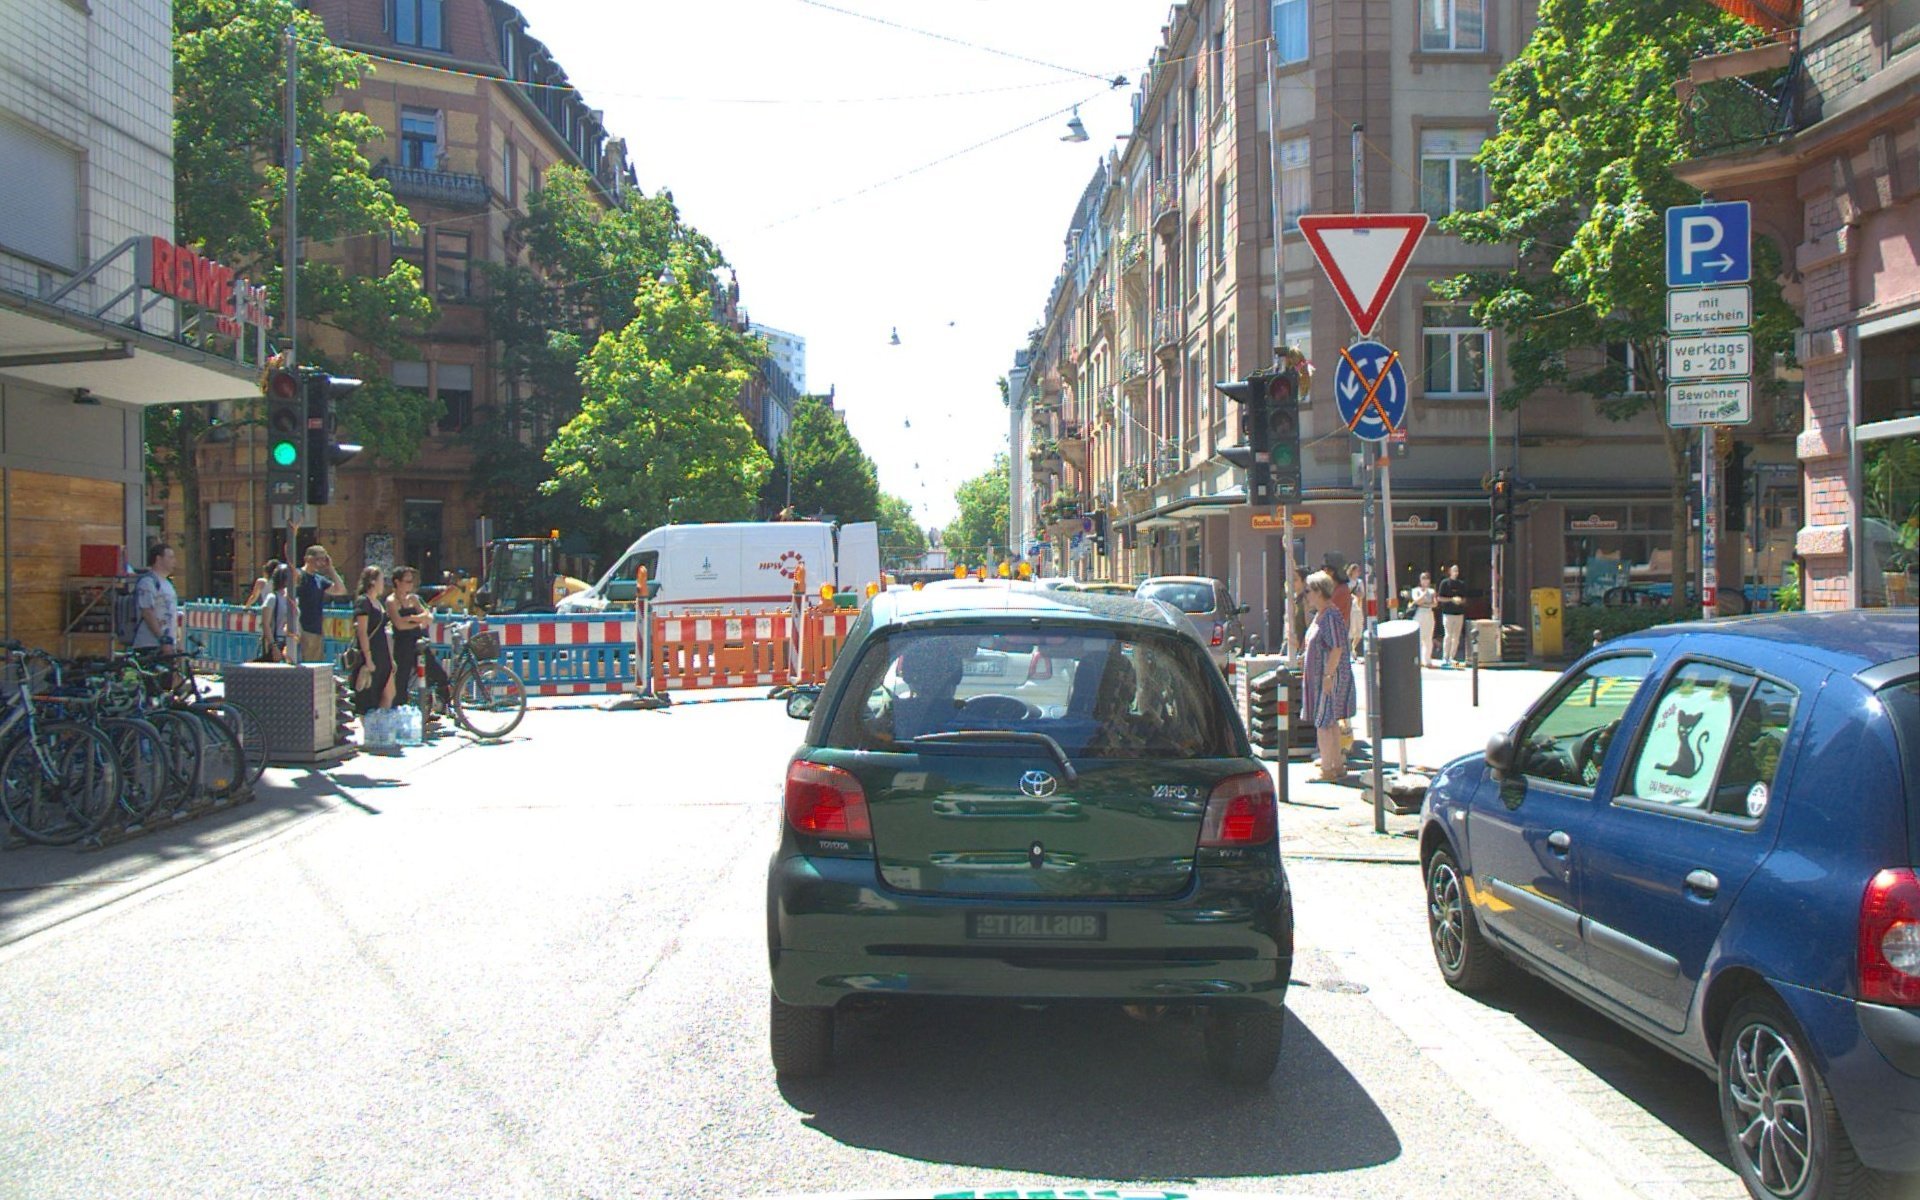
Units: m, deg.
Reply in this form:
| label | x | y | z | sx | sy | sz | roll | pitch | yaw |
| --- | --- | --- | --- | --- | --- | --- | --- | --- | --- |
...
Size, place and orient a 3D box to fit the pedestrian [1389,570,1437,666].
| label | x | y | z | sx | sy | sz | roll | pitch | yaw |
| --- | --- | --- | --- | --- | --- | --- | --- | --- | --- |
| pedestrian | 8.253 | 0.324 | 30.133 | 0.688 | 1.673 | 0.422 | -3 | 4 | -9 |

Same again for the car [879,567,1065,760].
| label | x | y | z | sx | sy | sz | roll | pitch | yaw |
| --- | --- | --- | --- | --- | --- | --- | --- | --- | --- |
| car | 0.066 | 0.494 | 15.049 | 1.491 | 1.547 | 3.263 | 0 | 1 | -1 |

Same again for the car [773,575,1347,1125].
| label | x | y | z | sx | sy | sz | roll | pitch | yaw |
| --- | --- | --- | --- | --- | --- | --- | --- | --- | --- |
| car | 0.301 | 0.684 | 6.207 | 1.580 | 1.511 | 3.241 | 0 | 0 | 1 |

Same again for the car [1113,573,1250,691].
| label | x | y | z | sx | sy | sz | roll | pitch | yaw |
| --- | --- | --- | --- | --- | --- | --- | --- | --- | --- |
| car | 3.322 | 0.416 | 24.392 | 1.490 | 1.620 | 3.266 | 0 | 1 | 17 |

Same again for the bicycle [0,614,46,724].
| label | x | y | z | sx | sy | sz | roll | pitch | yaw |
| --- | --- | --- | --- | --- | --- | --- | --- | --- | --- |
| bicycle | -10.098 | 0.699 | 16.611 | 1.545 | 1.091 | 0.341 | -1 | 0 | -18 |

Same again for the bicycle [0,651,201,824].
| label | x | y | z | sx | sy | sz | roll | pitch | yaw |
| --- | --- | --- | --- | --- | --- | --- | --- | --- | --- |
| bicycle | -5.720 | 0.881 | 10.689 | 1.419 | 1.054 | 0.335 | 2 | 0 | -5 |

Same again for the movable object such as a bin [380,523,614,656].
| label | x | y | z | sx | sy | sz | roll | pitch | yaw |
| --- | --- | --- | --- | --- | --- | --- | --- | --- | --- |
| movable object such as a bin | -9.931 | -0.230 | 35.766 | 4.450 | 2.705 | 1.955 | 1 | 0 | -1 |

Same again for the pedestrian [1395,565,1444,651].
| label | x | y | z | sx | sy | sz | roll | pitch | yaw |
| --- | --- | --- | --- | --- | --- | --- | --- | --- | --- |
| pedestrian | 8.907 | 0.154 | 32.061 | 0.785 | 1.652 | 0.643 | 0 | 0 | 2 |

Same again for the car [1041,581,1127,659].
| label | x | y | z | sx | sy | sz | roll | pitch | yaw |
| --- | --- | --- | --- | --- | --- | --- | --- | --- | --- |
| car | 2.547 | 0.365 | 33.360 | 1.593 | 1.457 | 3.663 | -2 | 0 | 6 |

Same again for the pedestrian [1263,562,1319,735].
| label | x | y | z | sx | sy | sz | roll | pitch | yaw |
| --- | --- | --- | --- | --- | --- | --- | --- | --- | --- |
| pedestrian | 3.075 | 0.441 | 15.400 | 0.450 | 1.587 | 0.479 | 0 | 0 | 5 |

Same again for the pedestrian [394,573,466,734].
| label | x | y | z | sx | sy | sz | roll | pitch | yaw |
| --- | --- | --- | --- | --- | --- | --- | --- | --- | --- |
| pedestrian | -5.377 | 0.531 | 16.777 | 0.486 | 1.593 | 0.459 | 2 | 1 | 25 |

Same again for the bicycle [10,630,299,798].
| label | x | y | z | sx | sy | sz | roll | pitch | yaw |
| --- | --- | --- | --- | --- | --- | --- | --- | --- | --- |
| bicycle | -5.822 | 0.819 | 12.030 | 1.763 | 1.142 | 0.577 | 2 | 0 | -7 |

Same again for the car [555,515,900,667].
| label | x | y | z | sx | sy | sz | roll | pitch | yaw |
| --- | --- | --- | --- | --- | --- | --- | --- | --- | --- |
| car | -4.535 | -0.180 | 33.150 | 6.486 | 2.799 | 2.380 | 1 | 0 | 0 |

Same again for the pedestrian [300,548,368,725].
| label | x | y | z | sx | sy | sz | roll | pitch | yaw |
| --- | --- | --- | --- | --- | --- | --- | --- | --- | --- |
| pedestrian | -6.679 | 0.380 | 17.657 | 0.499 | 1.851 | 0.599 | 0 | 0 | -3 |

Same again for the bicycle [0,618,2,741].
| label | x | y | z | sx | sy | sz | roll | pitch | yaw |
| --- | --- | --- | --- | --- | --- | --- | --- | --- | --- |
| bicycle | -8.591 | 0.731 | 14.254 | 0.316 | 1.105 | 1.425 | 0 | 1 | -19 |

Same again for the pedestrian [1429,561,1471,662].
| label | x | y | z | sx | sy | sz | roll | pitch | yaw |
| --- | --- | --- | --- | --- | --- | --- | --- | --- | --- |
| pedestrian | 9.001 | 0.201 | 30.371 | 0.564 | 1.799 | 0.471 | -3 | 4 | -9 |

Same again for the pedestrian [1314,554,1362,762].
| label | x | y | z | sx | sy | sz | roll | pitch | yaw |
| --- | --- | --- | --- | --- | --- | --- | --- | --- | --- |
| pedestrian | 3.134 | 0.473 | 13.730 | 0.325 | 1.705 | 0.402 | 0 | 0 | 5 |

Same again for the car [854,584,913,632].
| label | x | y | z | sx | sy | sz | roll | pitch | yaw |
| --- | --- | --- | --- | --- | --- | --- | --- | --- | --- |
| car | -2.437 | 0.230 | 53.253 | 1.719 | 1.469 | 4.000 | -1 | 0 | -1 |

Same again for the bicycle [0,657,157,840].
| label | x | y | z | sx | sy | sz | roll | pitch | yaw |
| --- | --- | --- | --- | --- | --- | --- | --- | --- | --- |
| bicycle | -5.728 | 0.885 | 10.028 | 1.465 | 1.048 | 0.397 | 2 | 0 | -5 |

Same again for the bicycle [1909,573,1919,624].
| label | x | y | z | sx | sy | sz | roll | pitch | yaw |
| --- | --- | --- | --- | --- | --- | --- | --- | --- | --- |
| bicycle | 19.777 | -0.038 | 32.794 | 1.690 | 1.014 | 0.504 | -1 | 2 | -5 |

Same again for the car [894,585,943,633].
| label | x | y | z | sx | sy | sz | roll | pitch | yaw |
| --- | --- | --- | --- | --- | --- | --- | --- | --- | --- |
| car | -1.549 | 0.314 | 62.774 | 1.719 | 1.674 | 4.377 | -3 | 0 | -1 |

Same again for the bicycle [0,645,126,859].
| label | x | y | z | sx | sy | sz | roll | pitch | yaw |
| --- | --- | --- | --- | --- | --- | --- | --- | --- | --- |
| bicycle | -5.715 | 0.845 | 9.469 | 1.553 | 1.159 | 0.526 | 2 | 0 | -5 |

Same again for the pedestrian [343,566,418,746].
| label | x | y | z | sx | sy | sz | roll | pitch | yaw |
| --- | --- | --- | --- | --- | --- | --- | --- | --- | --- |
| pedestrian | -5.456 | 0.514 | 15.595 | 0.530 | 1.661 | 0.511 | 0 | 0 | -3 |

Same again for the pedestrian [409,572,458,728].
| label | x | y | z | sx | sy | sz | roll | pitch | yaw |
| --- | --- | --- | --- | --- | --- | --- | --- | --- | --- |
| pedestrian | -5.654 | 0.530 | 17.786 | 0.382 | 1.646 | 0.475 | 0 | 0 | -3 |

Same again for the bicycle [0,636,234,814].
| label | x | y | z | sx | sy | sz | roll | pitch | yaw |
| --- | --- | --- | --- | --- | --- | --- | --- | --- | --- |
| bicycle | -5.759 | 0.841 | 11.180 | 1.489 | 1.136 | 0.335 | 2 | 0 | -5 |

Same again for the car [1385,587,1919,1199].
| label | x | y | z | sx | sy | sz | roll | pitch | yaw |
| --- | --- | --- | --- | --- | --- | --- | --- | --- | --- |
| car | 2.696 | 0.711 | 5.241 | 1.595 | 1.457 | 3.658 | -2 | 0 | -3 |

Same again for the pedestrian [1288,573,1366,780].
| label | x | y | z | sx | sy | sz | roll | pitch | yaw |
| --- | --- | --- | --- | --- | --- | --- | --- | --- | --- |
| pedestrian | 2.865 | 0.587 | 12.938 | 0.482 | 1.570 | 0.437 | -2 | 0 | 5 |

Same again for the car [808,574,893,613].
| label | x | y | z | sx | sy | sz | roll | pitch | yaw |
| --- | --- | --- | --- | --- | --- | --- | --- | --- | --- |
| car | -6.280 | -0.396 | 95.019 | 4.506 | 2.226 | 1.982 | 0 | 0 | -28 |

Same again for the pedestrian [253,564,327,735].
| label | x | y | z | sx | sy | sz | roll | pitch | yaw |
| --- | --- | --- | --- | --- | --- | --- | --- | --- | --- |
| pedestrian | -6.670 | 0.482 | 16.489 | 0.499 | 1.661 | 0.599 | 0 | 0 | -3 |

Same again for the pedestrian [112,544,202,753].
| label | x | y | z | sx | sy | sz | roll | pitch | yaw |
| --- | --- | --- | --- | --- | --- | --- | --- | --- | --- |
| pedestrian | -7.068 | 0.414 | 14.572 | 0.499 | 1.801 | 0.599 | 0 | 0 | -3 |

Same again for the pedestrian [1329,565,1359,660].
| label | x | y | z | sx | sy | sz | roll | pitch | yaw |
| --- | --- | --- | --- | --- | --- | --- | --- | --- | --- |
| pedestrian | 7.269 | 0.231 | 31.277 | 0.467 | 1.763 | 0.872 | 0 | -1 | 18 |

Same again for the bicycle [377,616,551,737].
| label | x | y | z | sx | sy | sz | roll | pitch | yaw |
| --- | --- | --- | --- | --- | --- | --- | --- | --- | --- |
| bicycle | -5.082 | 0.765 | 16.923 | 1.767 | 1.138 | 0.468 | 1 | 1 | 21 |
